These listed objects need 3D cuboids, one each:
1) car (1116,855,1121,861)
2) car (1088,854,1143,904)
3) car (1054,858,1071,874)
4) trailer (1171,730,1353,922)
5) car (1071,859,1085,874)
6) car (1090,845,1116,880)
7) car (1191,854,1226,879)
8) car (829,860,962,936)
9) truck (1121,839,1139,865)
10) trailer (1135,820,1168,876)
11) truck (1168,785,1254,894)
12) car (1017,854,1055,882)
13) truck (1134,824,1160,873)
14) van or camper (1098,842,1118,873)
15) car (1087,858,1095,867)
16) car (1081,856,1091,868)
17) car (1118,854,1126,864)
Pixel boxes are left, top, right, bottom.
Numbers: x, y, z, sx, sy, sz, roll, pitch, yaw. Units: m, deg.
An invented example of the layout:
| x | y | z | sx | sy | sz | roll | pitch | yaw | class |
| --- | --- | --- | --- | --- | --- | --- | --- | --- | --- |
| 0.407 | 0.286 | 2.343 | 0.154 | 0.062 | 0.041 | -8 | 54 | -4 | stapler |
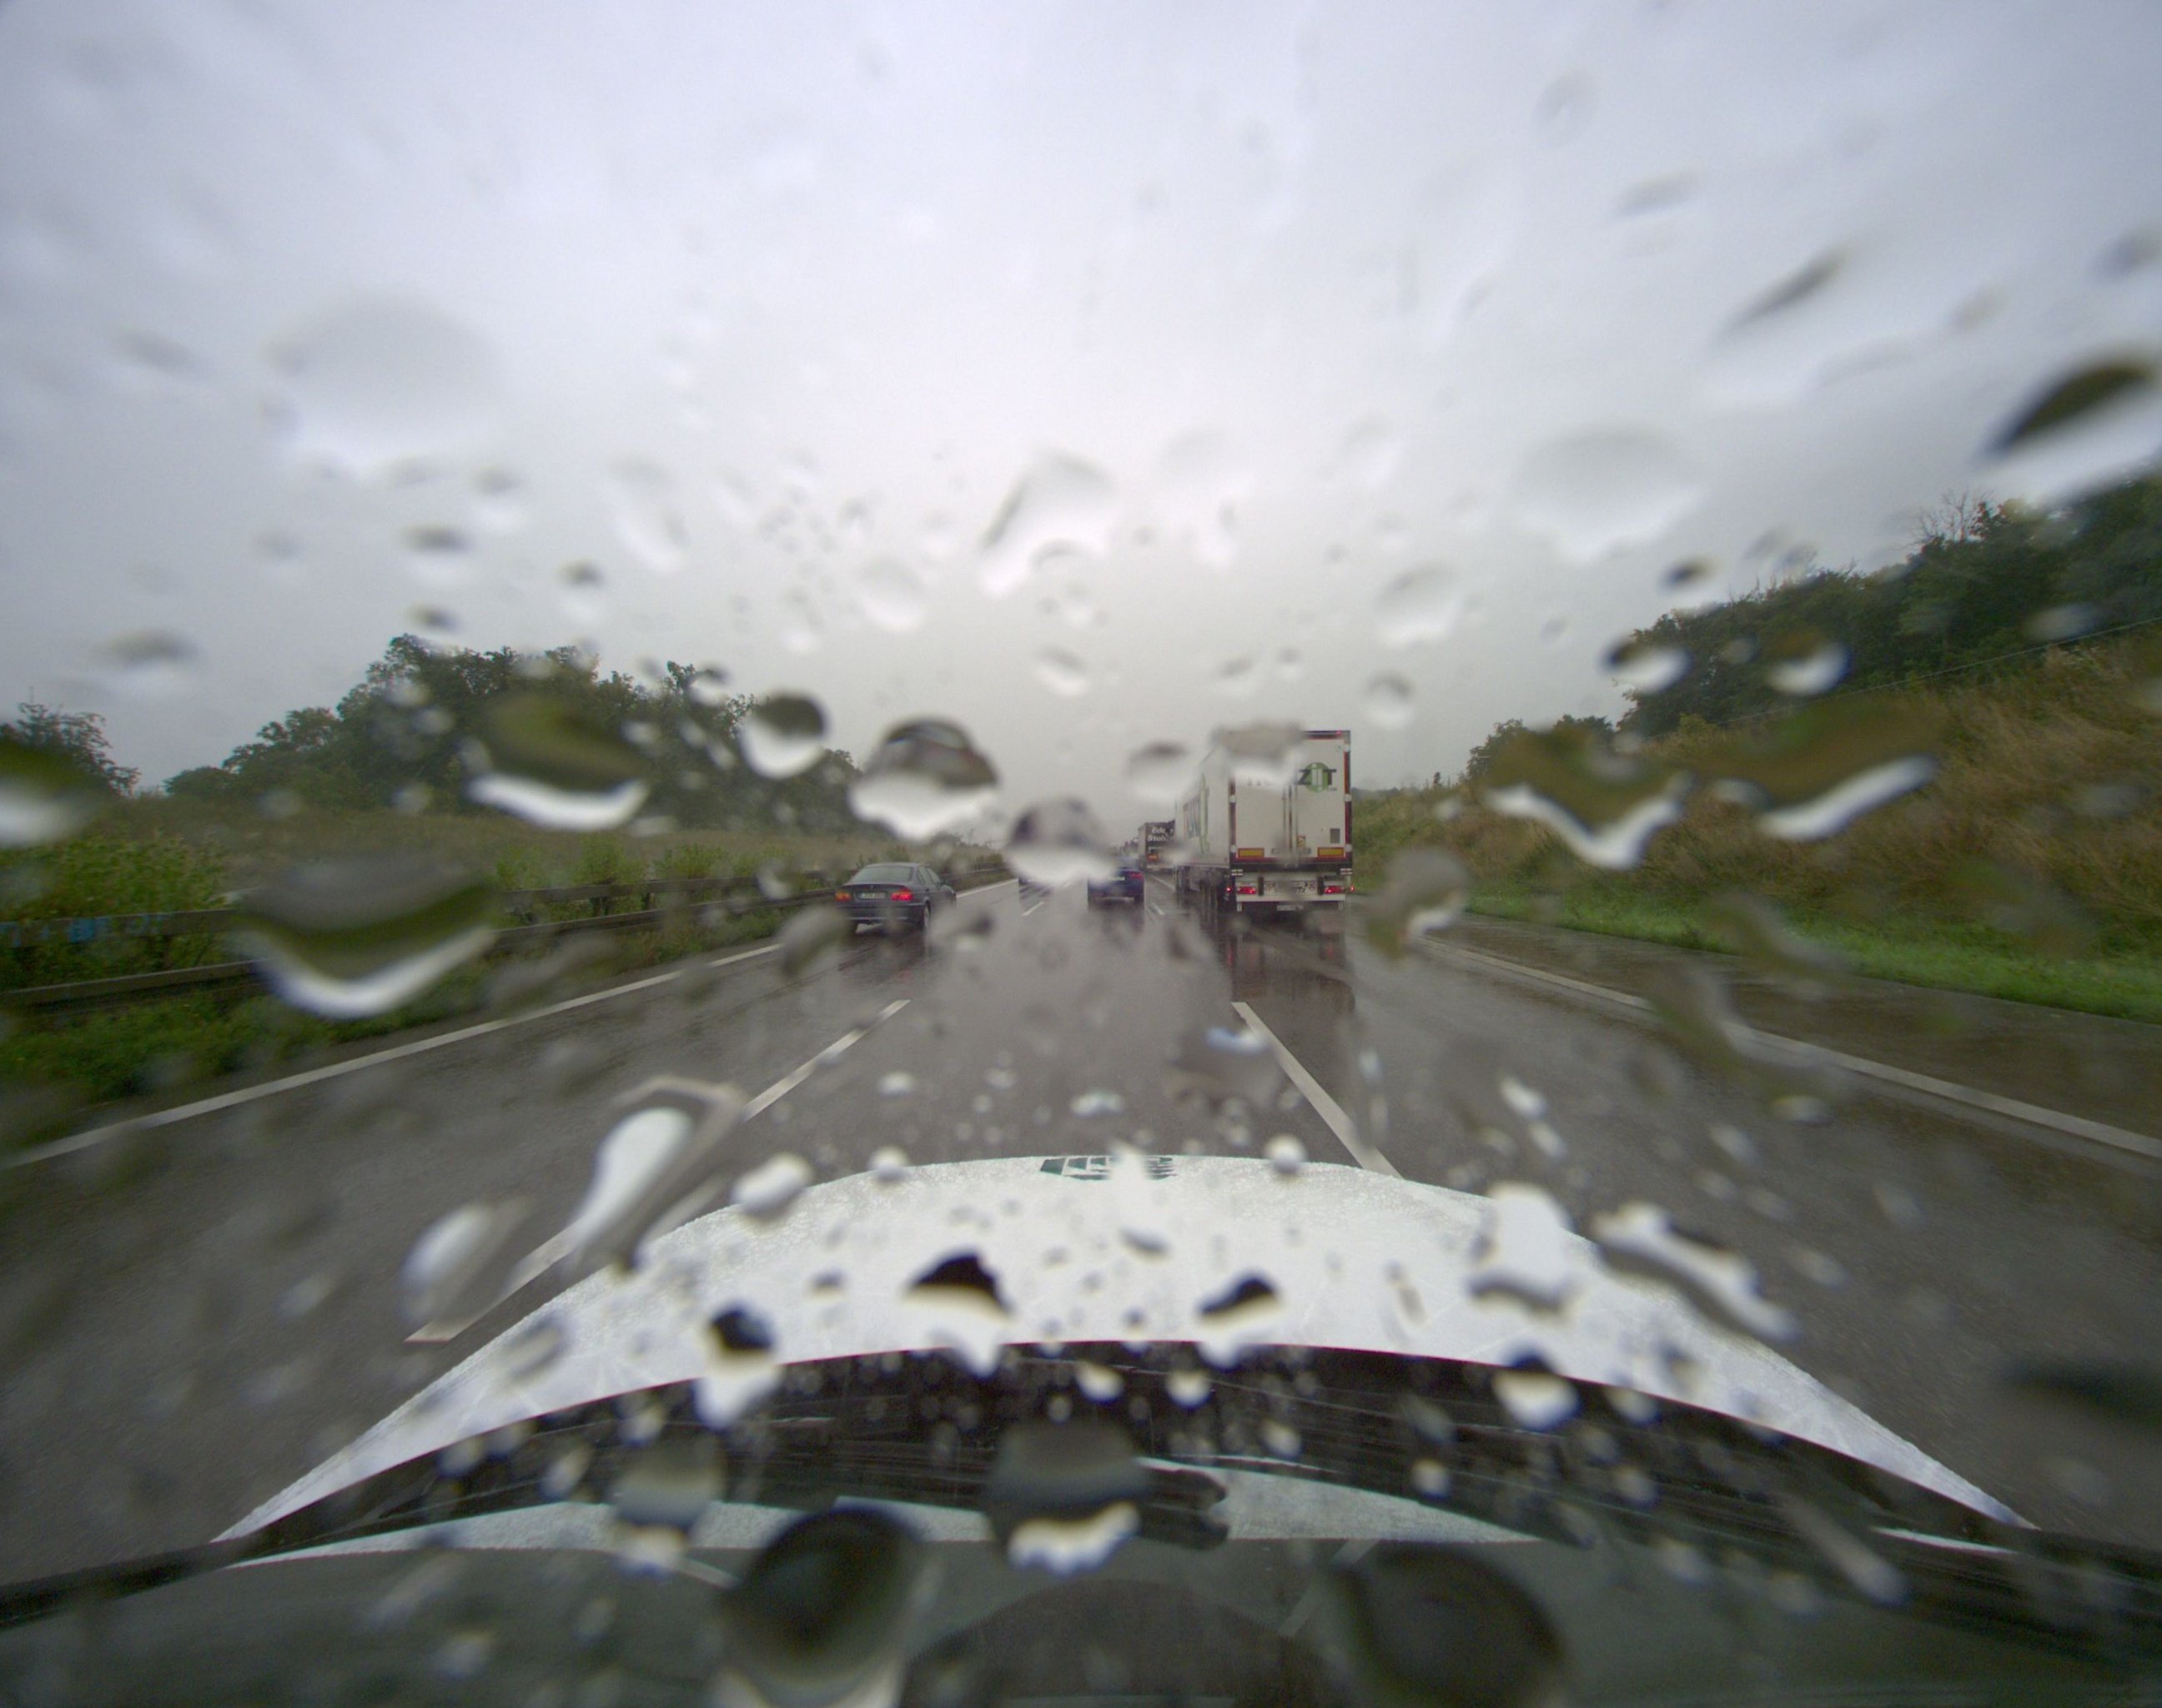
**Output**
| x | y | z | sx | sy | sz | roll | pitch | yaw | class |
| --- | --- | --- | --- | --- | --- | --- | --- | --- | --- |
| 11.451 | 1.197 | 249.018 | 1.443 | 1.784 | 3.410 | 0 | -1 | 2 | car |
| 1.118 | 0.745 | 26.202 | 1.629 | 1.445 | 4.002 | -1 | 0 | 2 | car |
| -1.696 | 1.108 | 75.731 | 1.434 | 1.420 | 3.323 | -1 | 0 | 2 | car |
| 4.615 | -0.605 | 24.480 | 2.620 | 4.013 | 14.635 | -1 | 0 | 2 | trailer |
| -0.374 | 1.402 | 92.093 | 1.434 | 1.533 | 3.323 | -1 | 0 | 2 | car |
| 1.191 | 0.438 | 43.494 | 1.332 | 1.780 | 3.323 | -1 | 0 | 2 | car |
| 6.739 | 0.635 | 43.355 | 1.418 | 1.288 | 3.462 | -1 | 0 | 2 | car |
| -3.858 | 0.860 | 17.713 | 1.711 | 1.400 | 4.233 | -1 | 0 | 3 | car |
| 6.594 | -0.277 | 110.615 | 1.987 | 3.421 | 8.032 | -1 | 0 | 1 | truck |
| 5.664 | -0.466 | 67.025 | 2.039 | 4.176 | 11.452 | -1 | 0 | 2 | trailer |
| 4.840 | -0.526 | 31.198 | 2.620 | 3.827 | 4.793 | -1 | 0 | 2 | truck |
| -2.548 | 0.787 | 46.563 | 1.715 | 1.523 | 4.003 | -1 | 0 | 3 | car |
| 5.847 | -0.471 | 72.440 | 2.039 | 4.193 | 4.002 | -1 | 0 | 2 | truck |
| 2.588 | 0.349 | 77.670 | 1.790 | 2.806 | 4.769 | -1 | 0 | 2 | van or camper |
| 1.971 | 1.666 | 162.260 | 1.443 | 1.784 | 3.410 | 0 | -1 | 2 | car |
| 0.767 | 1.257 | 130.454 | 1.443 | 1.784 | 3.410 | 0 | -1 | 2 | car |
| 8.143 | 0.977 | 161.094 | 1.443 | 1.784 | 3.410 | 0 | -1 | 2 | car |
